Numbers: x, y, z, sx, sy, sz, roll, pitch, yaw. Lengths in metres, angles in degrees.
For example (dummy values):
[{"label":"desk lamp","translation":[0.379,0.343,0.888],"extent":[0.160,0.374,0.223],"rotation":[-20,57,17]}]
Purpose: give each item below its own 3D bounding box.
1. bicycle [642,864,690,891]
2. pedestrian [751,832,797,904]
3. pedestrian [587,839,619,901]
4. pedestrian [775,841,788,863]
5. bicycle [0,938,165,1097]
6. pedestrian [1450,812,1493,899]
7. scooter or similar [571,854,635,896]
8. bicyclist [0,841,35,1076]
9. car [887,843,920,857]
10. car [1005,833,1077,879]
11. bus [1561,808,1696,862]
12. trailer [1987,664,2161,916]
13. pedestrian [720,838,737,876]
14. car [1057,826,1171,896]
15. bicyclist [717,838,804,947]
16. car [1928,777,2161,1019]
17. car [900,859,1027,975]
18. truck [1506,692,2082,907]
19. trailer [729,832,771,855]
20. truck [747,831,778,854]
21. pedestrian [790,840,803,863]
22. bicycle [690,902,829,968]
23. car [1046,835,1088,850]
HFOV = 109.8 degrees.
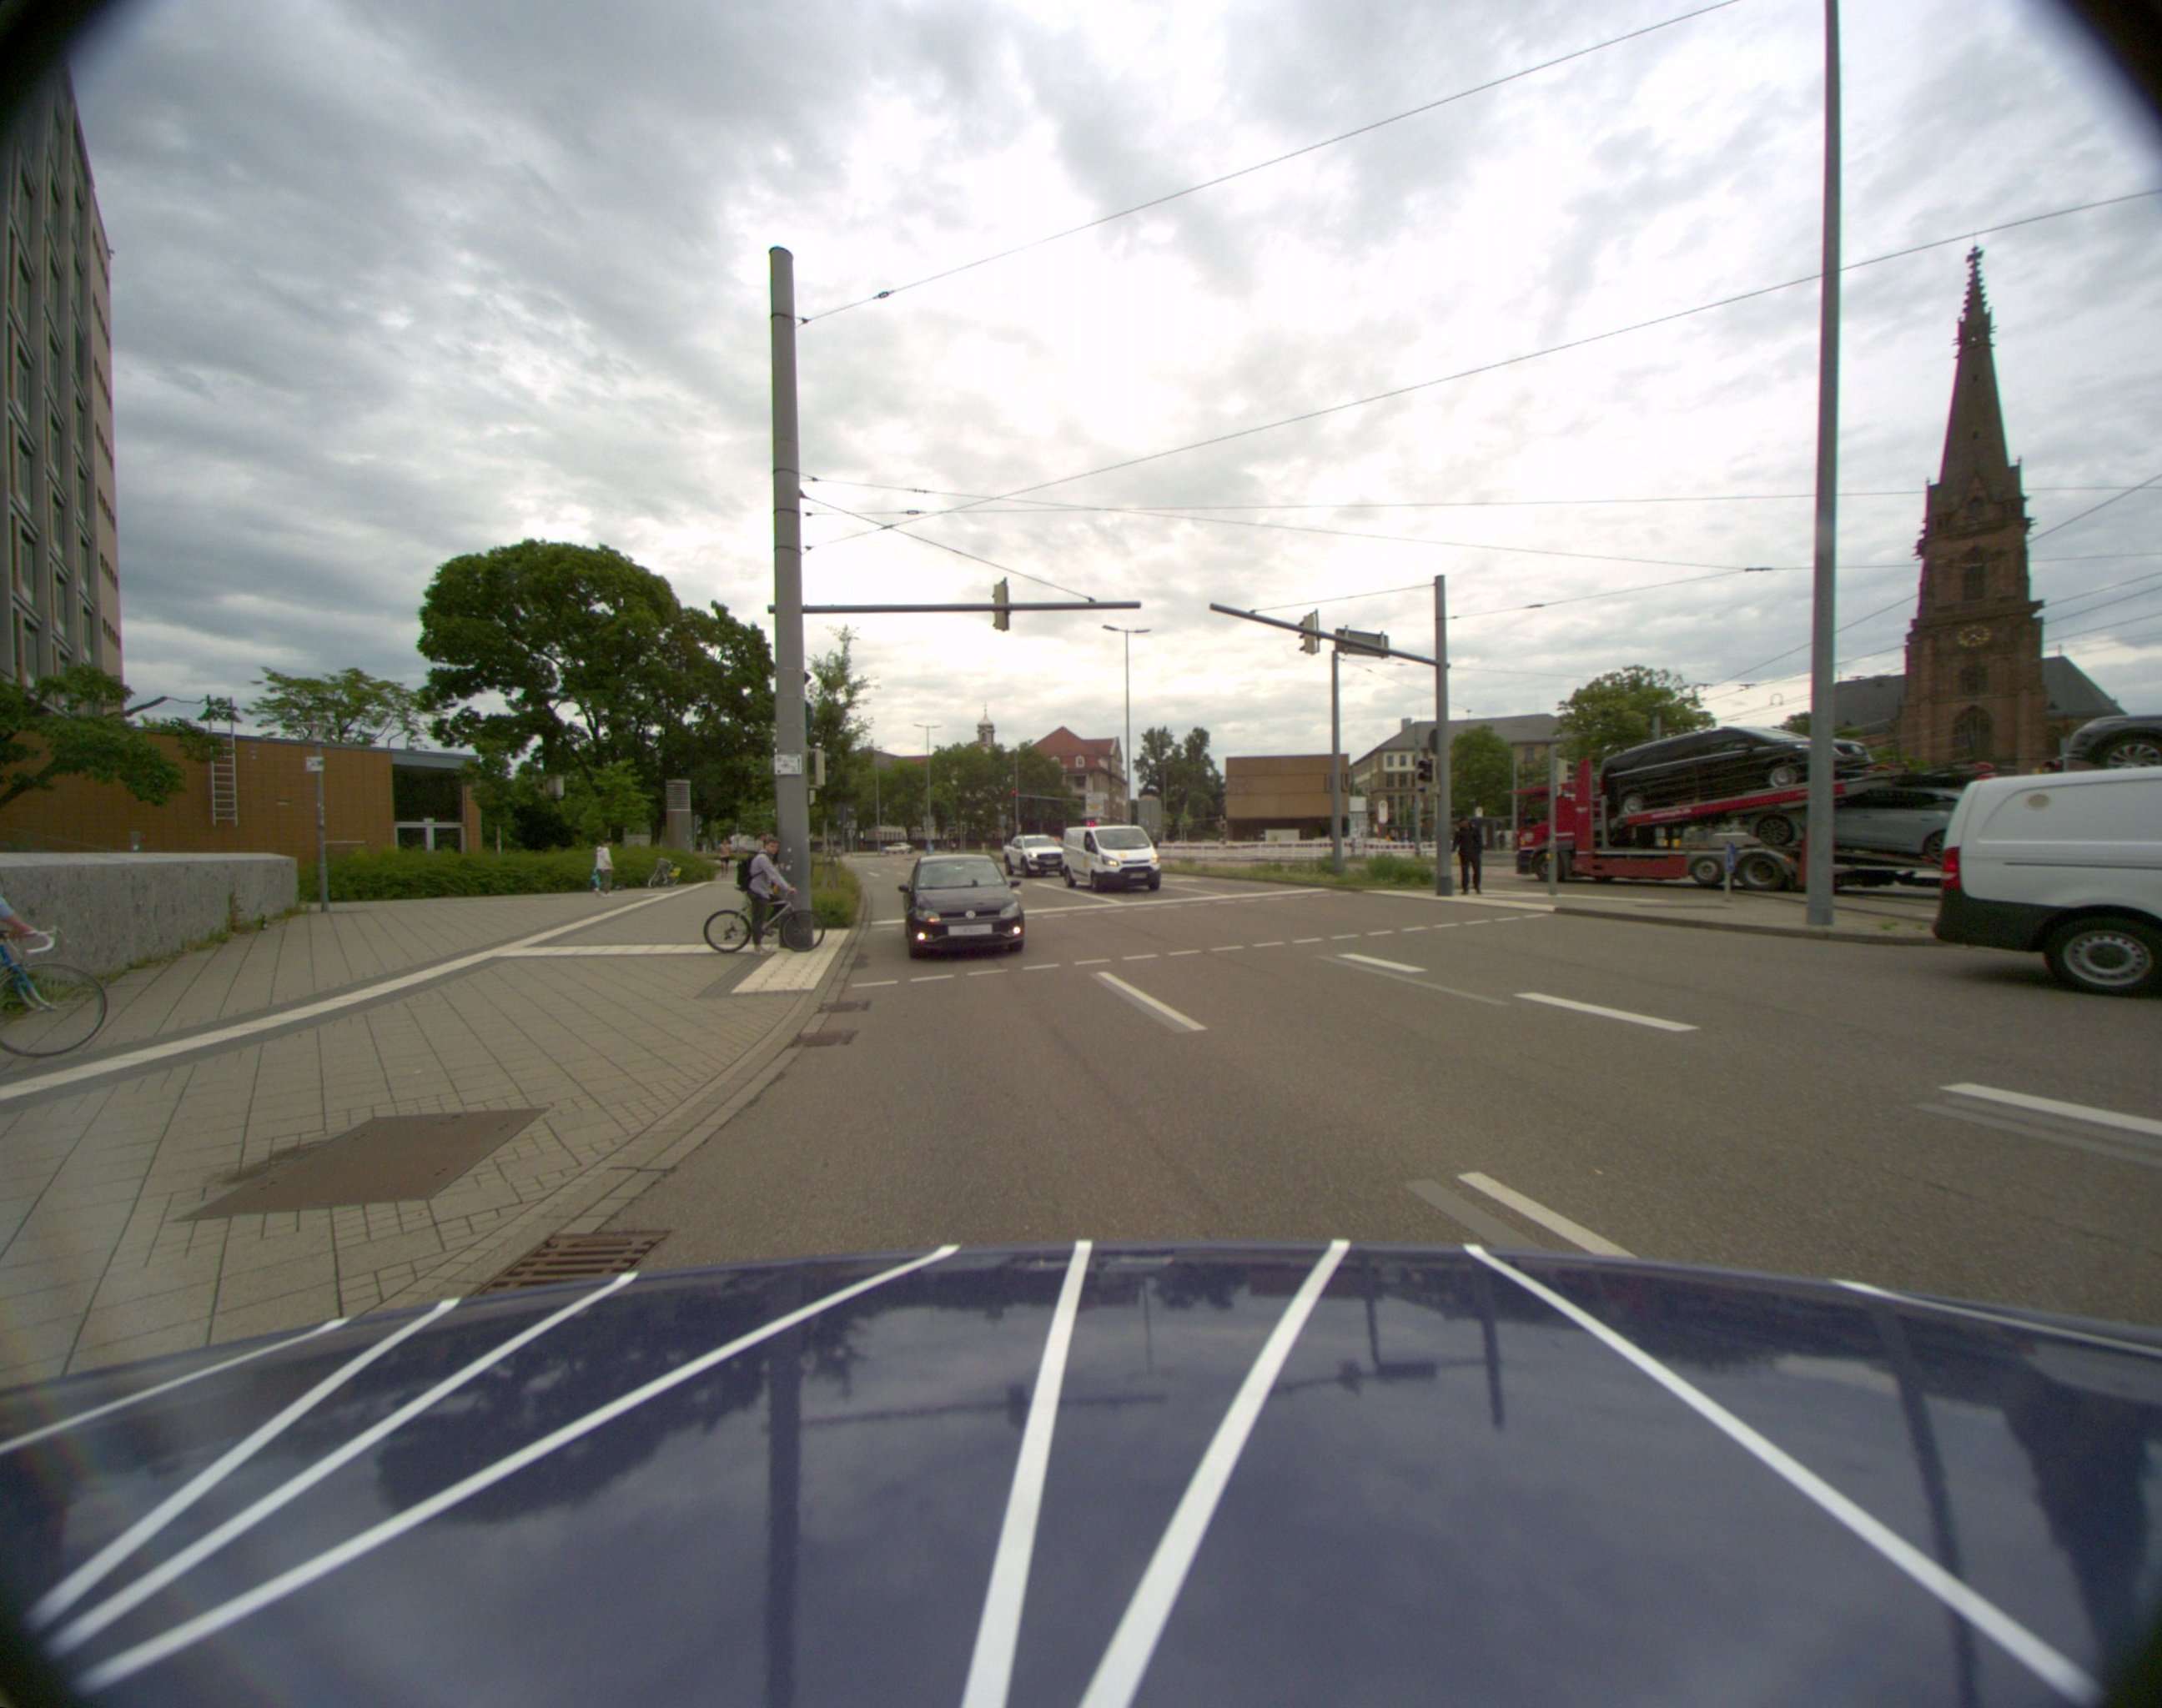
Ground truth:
[{"label":"bicycle","translation":[-14.814,0.821,27.187],"extent":[0.558,0.843,2.073],"rotation":[-1,1,-1]},{"label":"pedestrian","translation":[-8.426,0.360,20.849],"extent":[0.722,1.917,0.876],"rotation":[1,2,41]},{"label":"pedestrian","translation":[-14.129,0.456,22.461],"extent":[0.705,1.795,0.837],"rotation":[-2,2,-35]},{"label":"pedestrian","translation":[-25.045,-0.180,63.495],"extent":[0.596,1.790,0.723],"rotation":[2,1,27]},{"label":"bicycle","translation":[-7.485,1.123,4.916],"extent":[0.671,0.928,1.862],"rotation":[2,1,20]},{"label":"pedestrian","translation":[9.018,0.028,17.579],"extent":[0.779,1.932,0.983],"rotation":[0,2,22]},{"label":"scooter or similar","translation":[-15.914,0.674,25.330],"extent":[0.693,1.283,1.608],"rotation":[0,3,43]},{"label":"bicyclist","translation":[-7.550,0.683,4.808],"extent":[0.691,1.551,0.928],"rotation":[1,1,19]},{"label":"car","translation":[-23.565,-0.501,100.777],"extent":[3.989,1.718,2.003],"rotation":[-1,2,32]},{"label":"car","translation":[-1.879,0.031,33.608],"extent":[2.092,1.838,4.744],"rotation":[-1,1,-17]},{"label":"bus","translation":[35.723,-1.294,50.333],"extent":[2.859,3.060,12.029],"rotation":[-2,2,13]},{"label":"trailer","translation":[19.307,-1.023,9.671],"extent":[2.999,3.951,9.536],"rotation":[-3,2,-19]},{"label":"pedestrian","translation":[-16.716,0.142,36.003],"extent":[0.632,1.790,0.596],"rotation":[2,1,-20]},{"label":"car","translation":[0.885,0.156,23.383],"extent":[2.001,1.931,4.516],"rotation":[-1,1,-18]},{"label":"bicyclist","translation":[-4.670,0.533,11.142],"extent":[1.102,1.512,0.758],"rotation":[-2,2,-20]},{"label":"car","translation":[9.831,0.311,5.195],"extent":[1.926,1.872,5.076],"rotation":[-3,2,-29]},{"label":"car","translation":[-1.969,0.849,12.147],"extent":[1.657,1.405,3.995],"rotation":[-1,1,-12]},{"label":"truck","translation":[16.289,-1.117,19.188],"extent":[3.017,3.898,10.438],"rotation":[-3,2,-17]},{"label":"trailer","translation":[-63.369,-1.945,145.056],"extent":[2.953,3.991,13.771],"rotation":[-4,2,-42]},{"label":"truck","translation":[-58.547,-2.014,139.669],"extent":[2.919,4.002,7.140],"rotation":[-4,2,-42]},{"label":"pedestrian","translation":[-22.600,-0.198,60.368],"extent":[0.596,1.790,0.723],"rotation":[2,1,27]},{"label":"bicycle","translation":[-4.676,1.164,11.175],"extent":[1.828,0.835,0.766],"rotation":[1,1,-20]},{"label":"car","translation":[-1.740,-1.442,95.483],"extent":[5.253,1.707,1.907],"rotation":[-2,2,-41]}]
